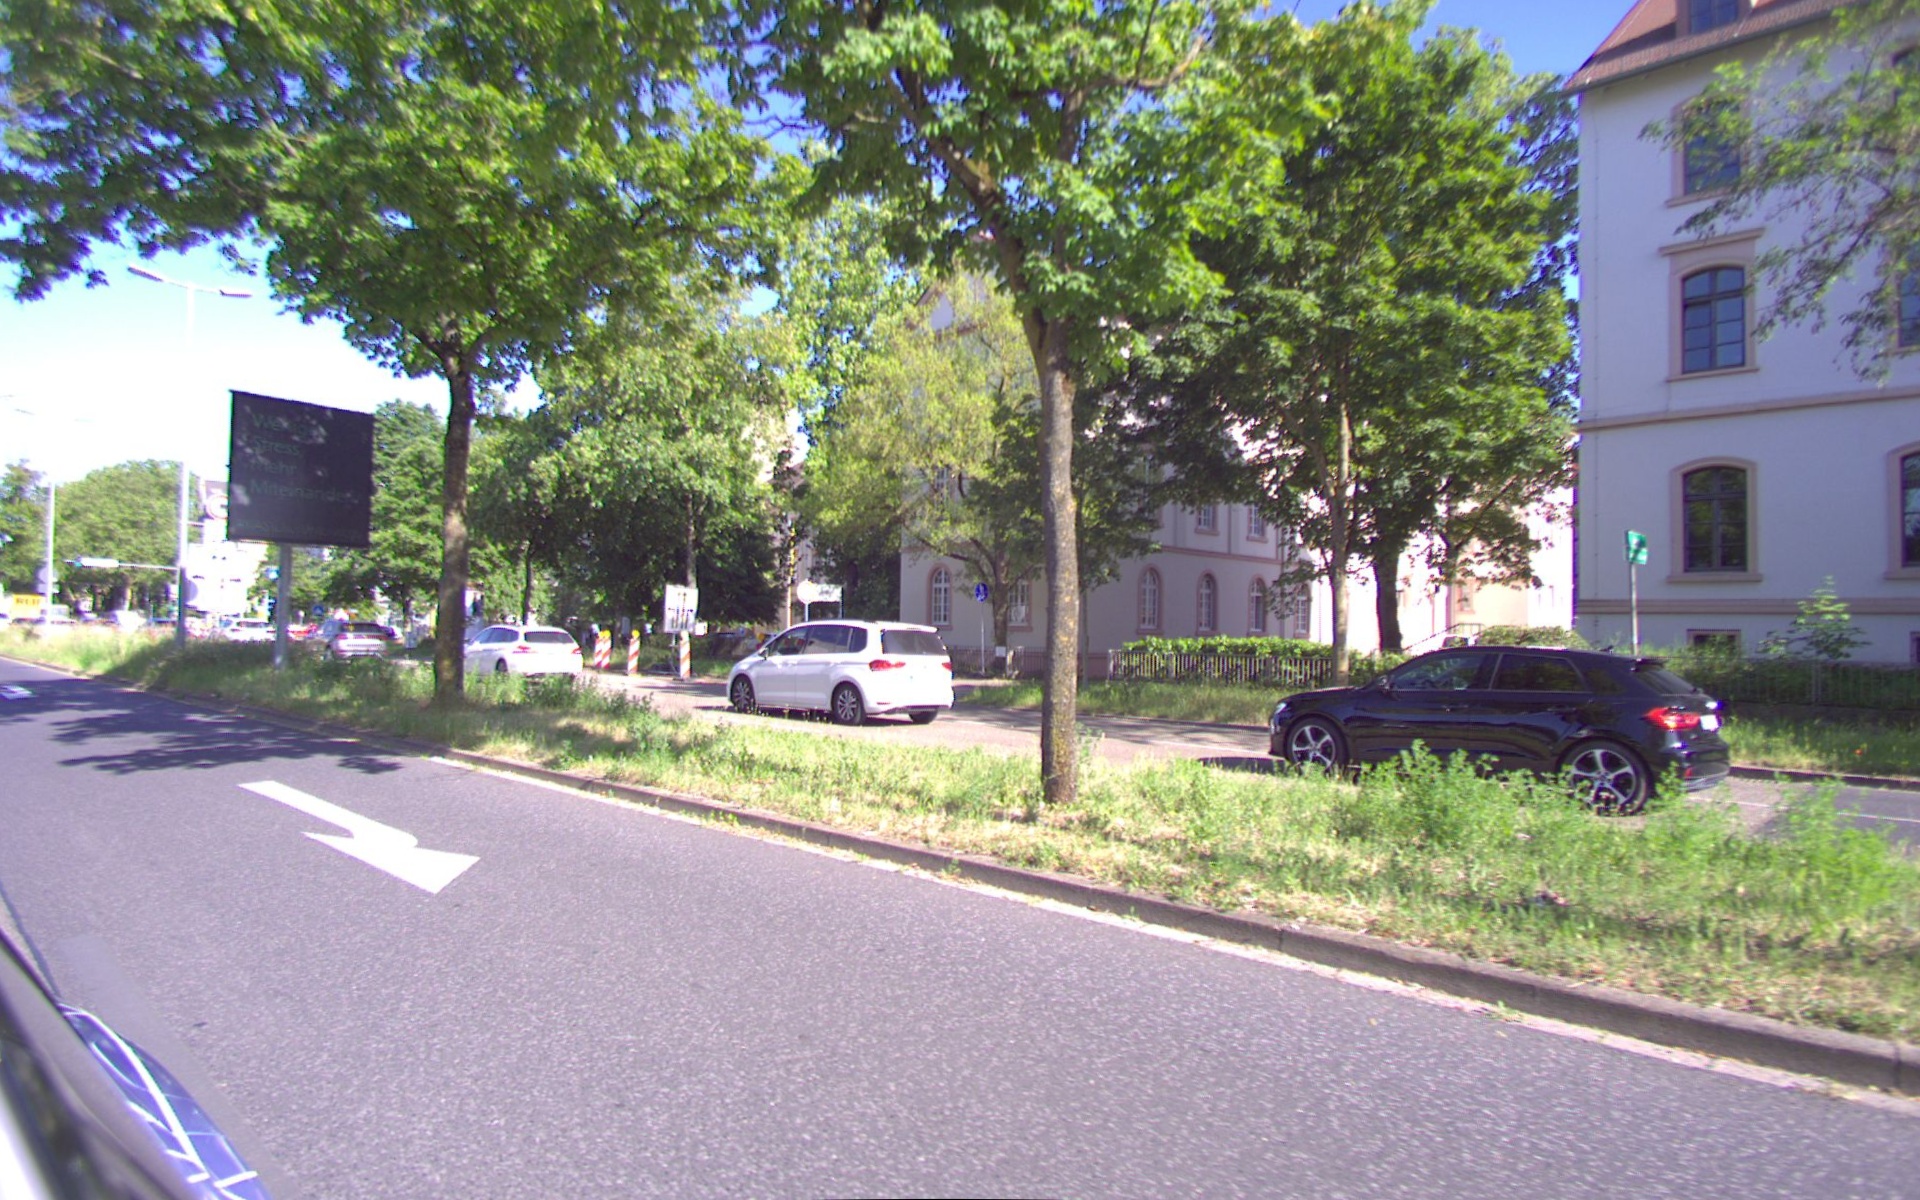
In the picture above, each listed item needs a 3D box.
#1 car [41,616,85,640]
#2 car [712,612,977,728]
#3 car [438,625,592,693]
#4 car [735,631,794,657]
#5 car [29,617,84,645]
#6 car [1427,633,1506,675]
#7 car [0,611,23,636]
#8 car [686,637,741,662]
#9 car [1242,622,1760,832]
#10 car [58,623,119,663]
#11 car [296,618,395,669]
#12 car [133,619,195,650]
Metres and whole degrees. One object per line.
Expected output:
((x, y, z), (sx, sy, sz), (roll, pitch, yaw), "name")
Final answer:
((-67.358, 2.080, 75.976), (5.029, 1.756, 1.777), (-1, -2, 41), "car")
((-2.023, 1.071, 16.678), (4.539, 1.638, 1.879), (-1, -4, 44), "car")
((-11.227, 1.422, 25.379), (4.666, 1.530, 1.818), (-1, -3, 43), "car")
((-14.069, 3.105, 72.758), (4.685, 1.503, 1.624), (3, 1, 42), "car")
((-50.884, 1.748, 56.949), (4.203, 1.530, 1.777), (-1, -2, 41), "car")
((23.968, 2.510, 47.858), (3.938, 1.807, 2.003), (1, 1, -42), "car")
((-81.296, 1.980, 85.779), (5.015, 2.043, 2.210), (-1, -2, 41), "car")
((-14.082, 2.811, 57.757), (1.743, 1.333, 3.508), (3, -3, -38), "car")
((5.048, 1.053, 9.838), (1.774, 1.530, 4.090), (5, -3, -44), "car")
((-43.156, 2.091, 50.072), (4.323, 1.630, 1.734), (3, 1, 42), "car")
((-21.199, 1.453, 34.841), (4.258, 1.530, 1.776), (1, 0, 42), "car")
((-42.378, 1.821, 53.866), (4.442, 1.530, 1.777), (-1, -2, 41), "car")
